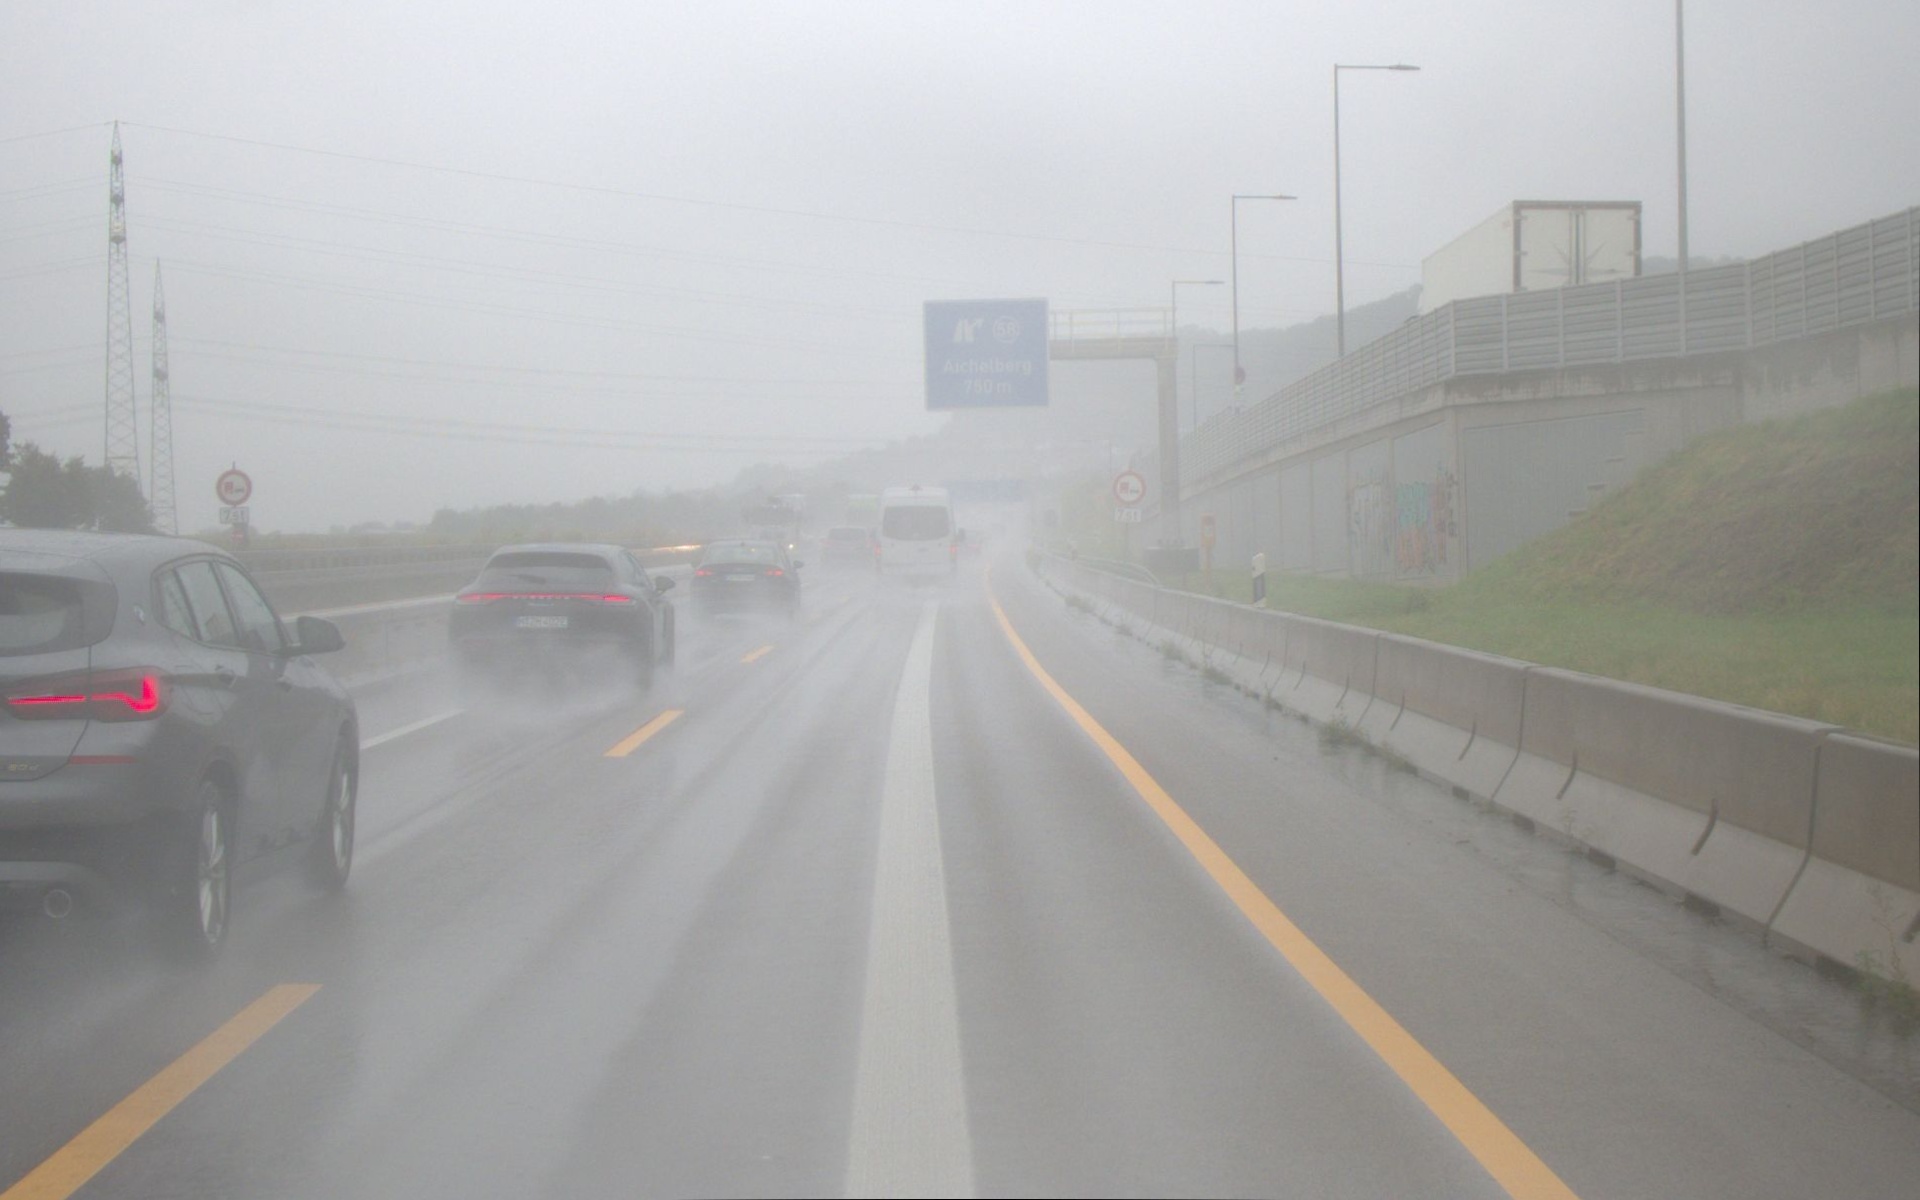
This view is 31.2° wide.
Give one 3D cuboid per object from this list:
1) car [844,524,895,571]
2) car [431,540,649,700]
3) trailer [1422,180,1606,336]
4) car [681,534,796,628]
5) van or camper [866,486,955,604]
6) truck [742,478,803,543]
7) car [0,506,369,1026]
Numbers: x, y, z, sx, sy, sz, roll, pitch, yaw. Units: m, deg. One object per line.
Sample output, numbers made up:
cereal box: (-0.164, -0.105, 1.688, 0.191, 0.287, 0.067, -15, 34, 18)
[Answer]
car: (-3.073, -1.759, 116.247, 1.566, 1.475, 2.822, -3, 0, -4)
car: (-4.099, 0.187, 34.109, 1.844, 1.486, 4.262, 0, 0, -3)
trailer: (12.117, -7.431, 76.310, 1.993, 2.099, 13.768, 0, 0, 1)
car: (-3.816, -0.361, 59.597, 1.844, 1.486, 4.262, -3, 1, -3)
van or camper: (-1.221, -1.298, 83.233, 1.996, 2.768, 4.050, 0, 0, -3)
truck: (-10.011, -4.787, 184.151, 2.639, 3.336, 9.553, 0, 1, 1)
car: (-3.373, 0.507, 12.928, 1.700, 1.592, 4.846, 0, 0, -3)
